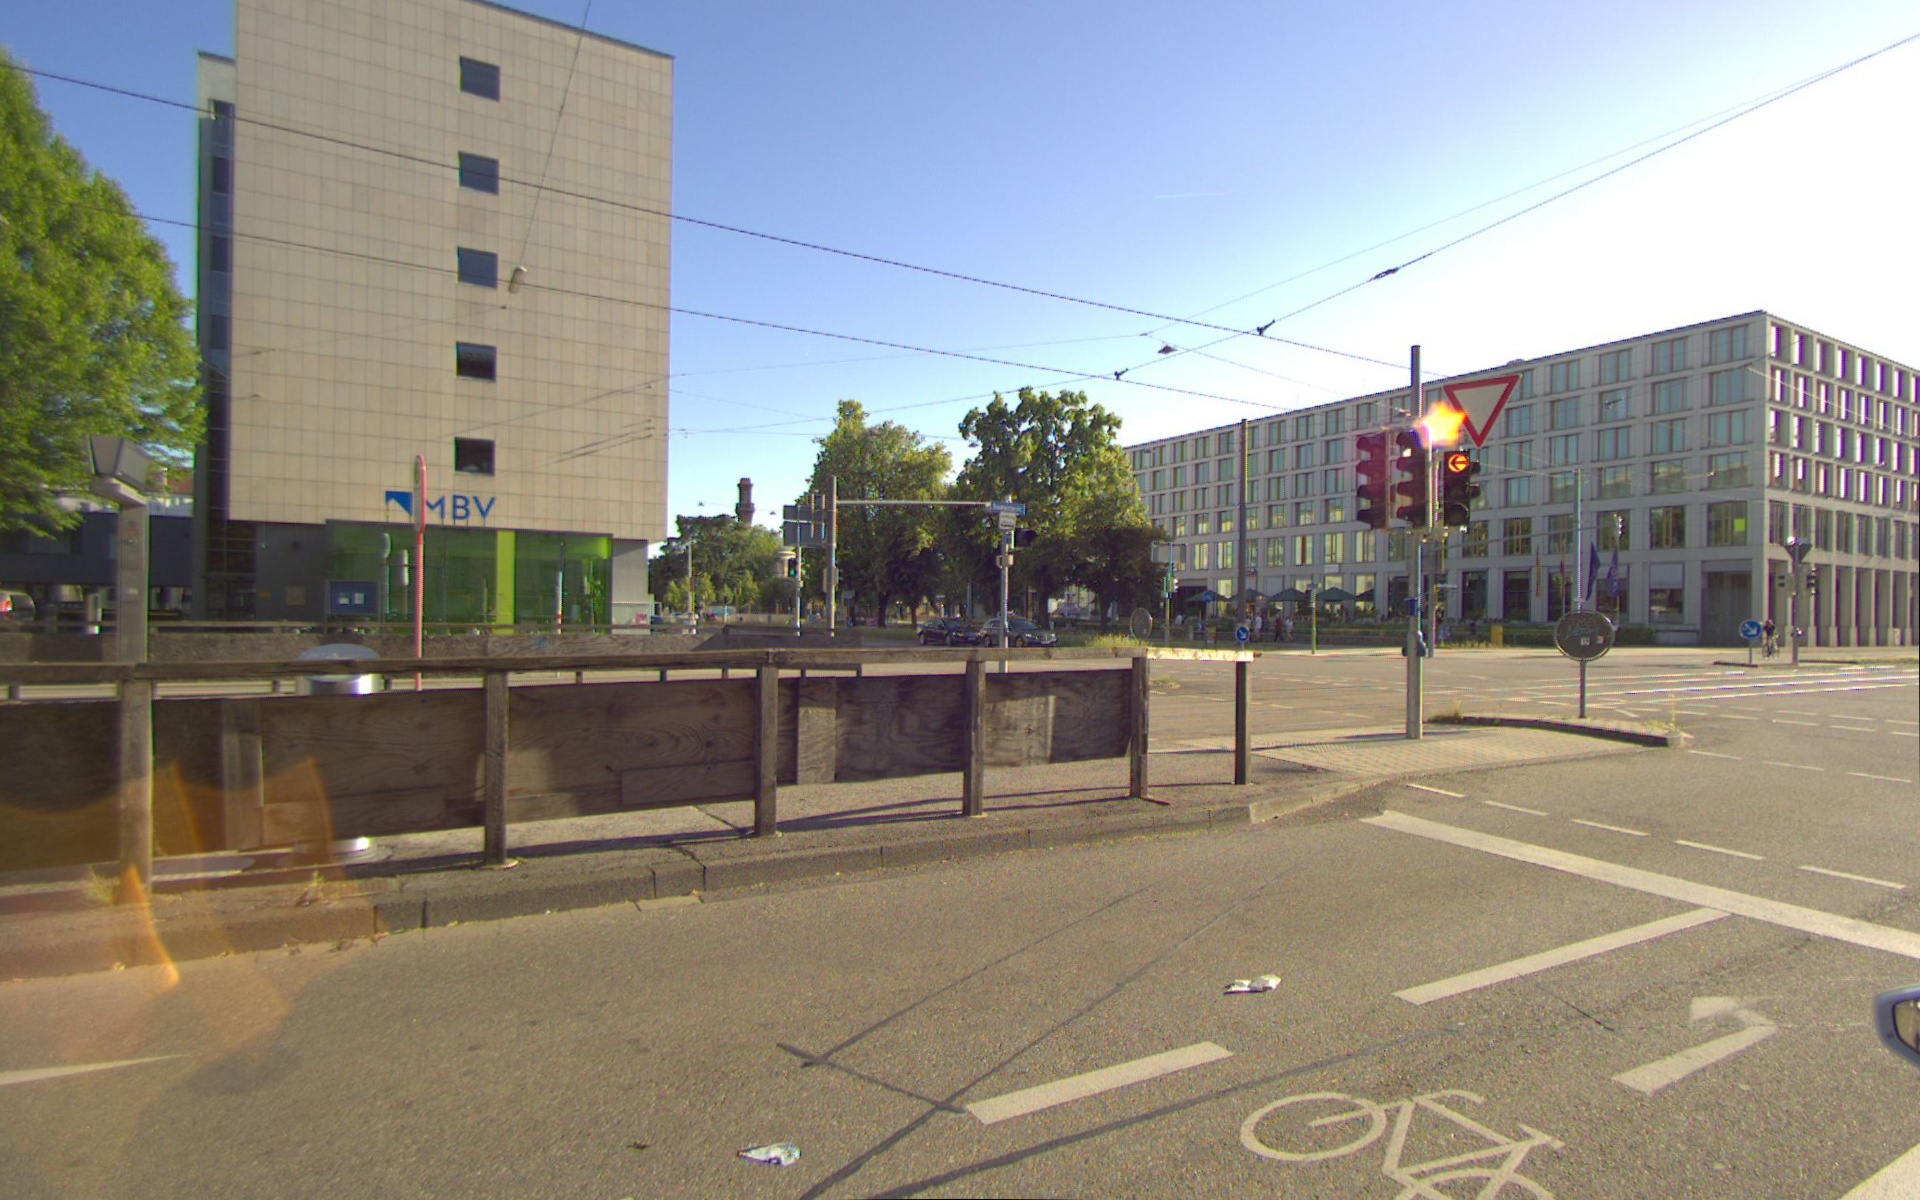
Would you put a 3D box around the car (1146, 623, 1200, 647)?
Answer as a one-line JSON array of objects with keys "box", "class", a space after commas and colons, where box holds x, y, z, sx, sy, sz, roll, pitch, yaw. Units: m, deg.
[{"box": [13.421, 2.183, 63.349, 1.458, 1.457, 3.161, 1, -1, -37], "class": "car"}]

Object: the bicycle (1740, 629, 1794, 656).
[{"box": [36.222, 1.904, 45.063, 2.976, 1.136, 0.871, 1, -1, -29], "class": "bicycle"}]

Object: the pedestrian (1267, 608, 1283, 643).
[{"box": [18.538, 1.506, 59.061, 0.793, 2.040, 0.526, 1, -1, -36], "class": "pedestrian"}]

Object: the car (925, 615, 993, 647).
[{"box": [-0.100, 1.591, 52.715, 1.801, 1.595, 3.967, 0, 0, -31], "class": "car"}]

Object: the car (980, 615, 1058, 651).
[{"box": [2.741, 1.542, 47.647, 1.708, 1.595, 4.140, 1, -1, -31], "class": "car"}]

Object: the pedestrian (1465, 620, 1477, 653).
[{"box": [32.047, 2.271, 62.990, 0.386, 2.040, 0.606, 1, -1, -29], "class": "pedestrian"}]

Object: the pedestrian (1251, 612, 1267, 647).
[{"box": [17.886, 1.770, 60.046, 0.793, 2.040, 0.526, 1, -1, -36], "class": "pedestrian"}]

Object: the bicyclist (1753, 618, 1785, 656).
[{"box": [36.287, 1.658, 45.055, 0.812, 1.663, 0.872, 1, -1, -29], "class": "bicyclist"}]

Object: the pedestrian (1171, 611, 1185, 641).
[{"box": [14.062, 1.669, 64.903, 0.672, 1.928, 0.560, 1, -1, -21], "class": "pedestrian"}]

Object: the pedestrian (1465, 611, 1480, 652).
[{"box": [28.942, 1.763, 56.729, 0.528, 2.310, 0.565, 1, -1, -36], "class": "pedestrian"}]

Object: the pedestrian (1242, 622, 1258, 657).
[{"box": [17.192, 2.357, 59.526, 0.793, 2.040, 0.526, 1, -1, -36], "class": "pedestrian"}]

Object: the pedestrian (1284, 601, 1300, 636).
[{"box": [19.511, 1.112, 59.093, 0.793, 2.040, 0.526, 1, -1, -36], "class": "pedestrian"}]
